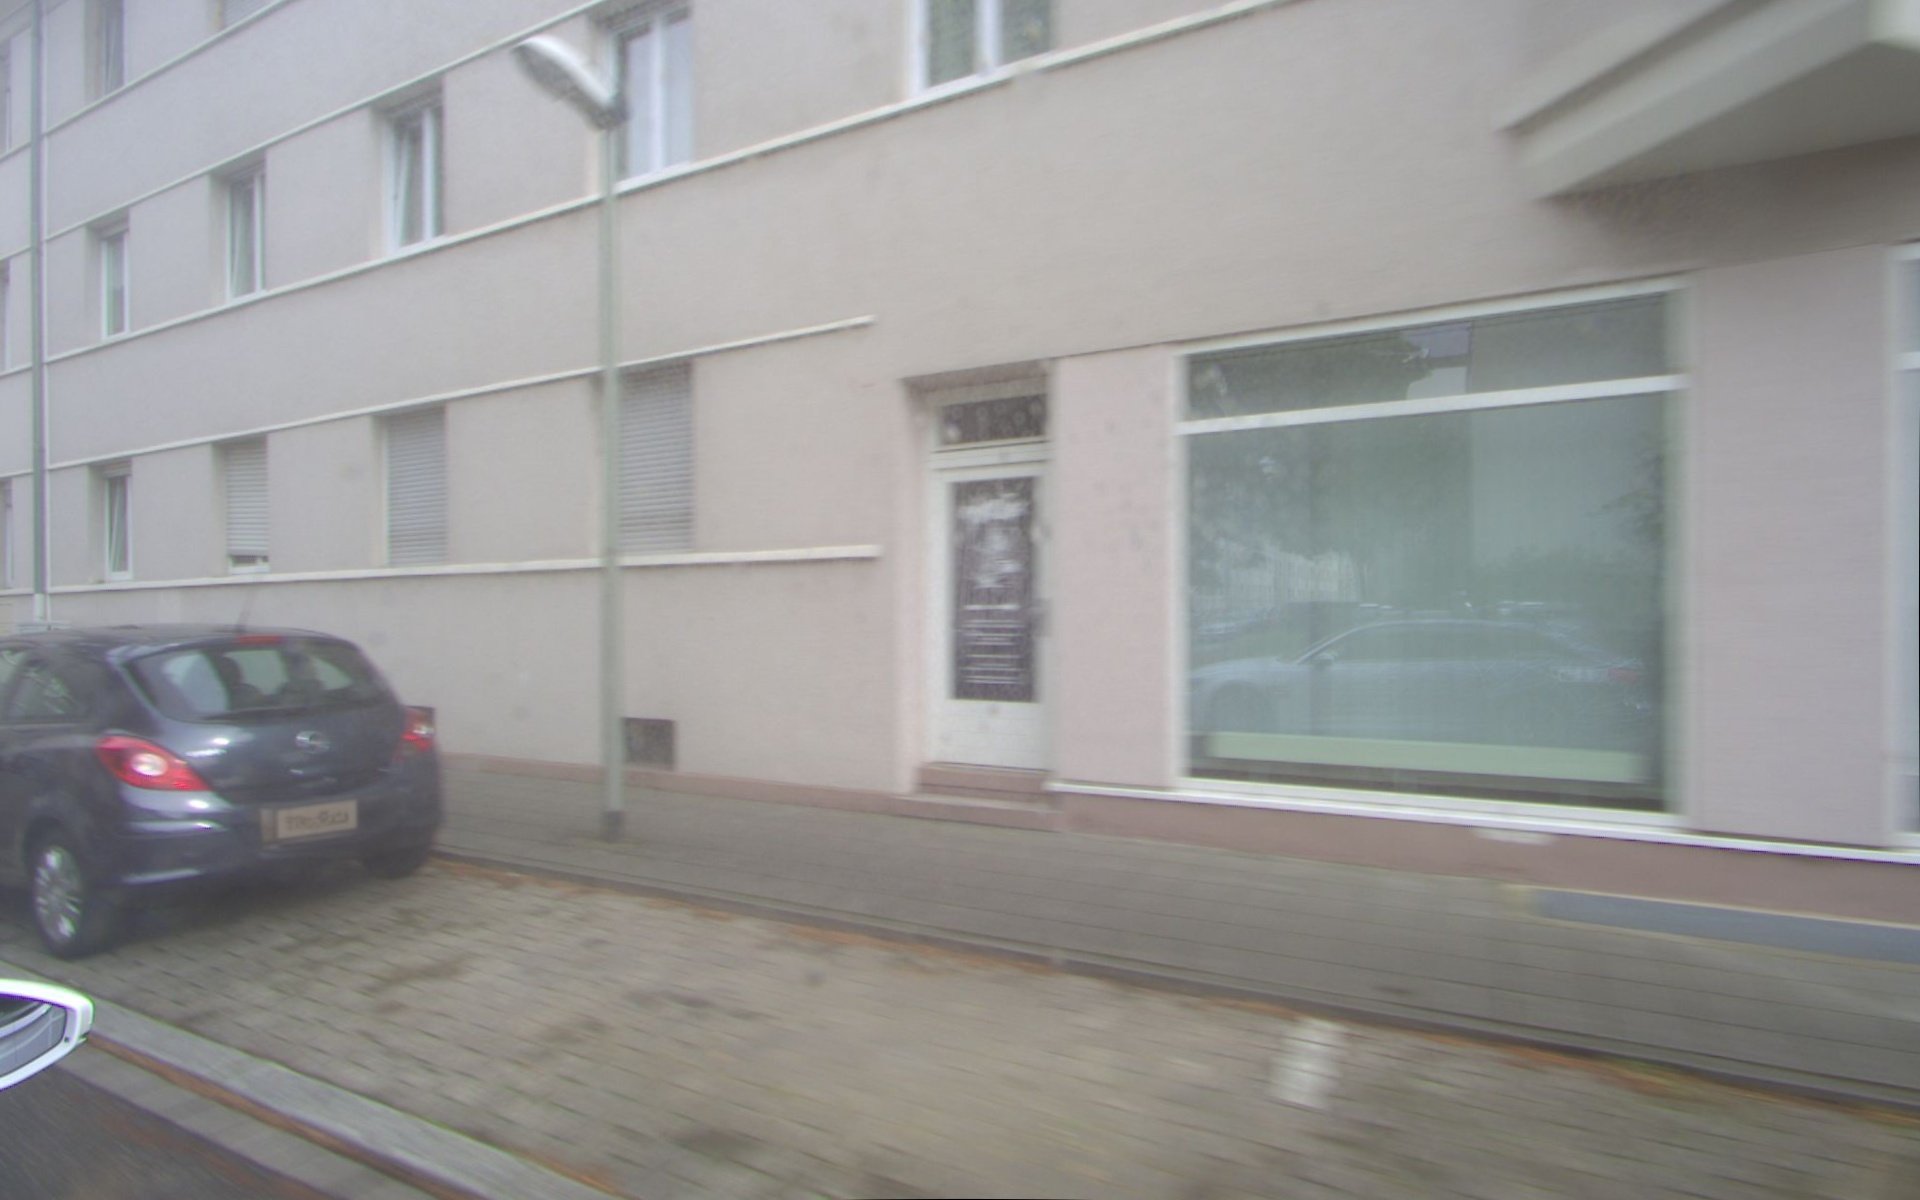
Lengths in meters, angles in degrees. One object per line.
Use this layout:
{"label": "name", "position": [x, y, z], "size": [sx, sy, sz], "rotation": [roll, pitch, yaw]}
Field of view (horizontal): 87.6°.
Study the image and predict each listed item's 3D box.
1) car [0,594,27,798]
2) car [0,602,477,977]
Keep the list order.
{"label": "car", "position": [-9.883, 0.802, 8.588], "size": [4.140, 1.648, 1.754], "rotation": [-1, -2, 32]}
{"label": "car", "position": [-4.794, 0.822, 5.763], "size": [3.877, 1.509, 1.755], "rotation": [-1, -2, 29]}
